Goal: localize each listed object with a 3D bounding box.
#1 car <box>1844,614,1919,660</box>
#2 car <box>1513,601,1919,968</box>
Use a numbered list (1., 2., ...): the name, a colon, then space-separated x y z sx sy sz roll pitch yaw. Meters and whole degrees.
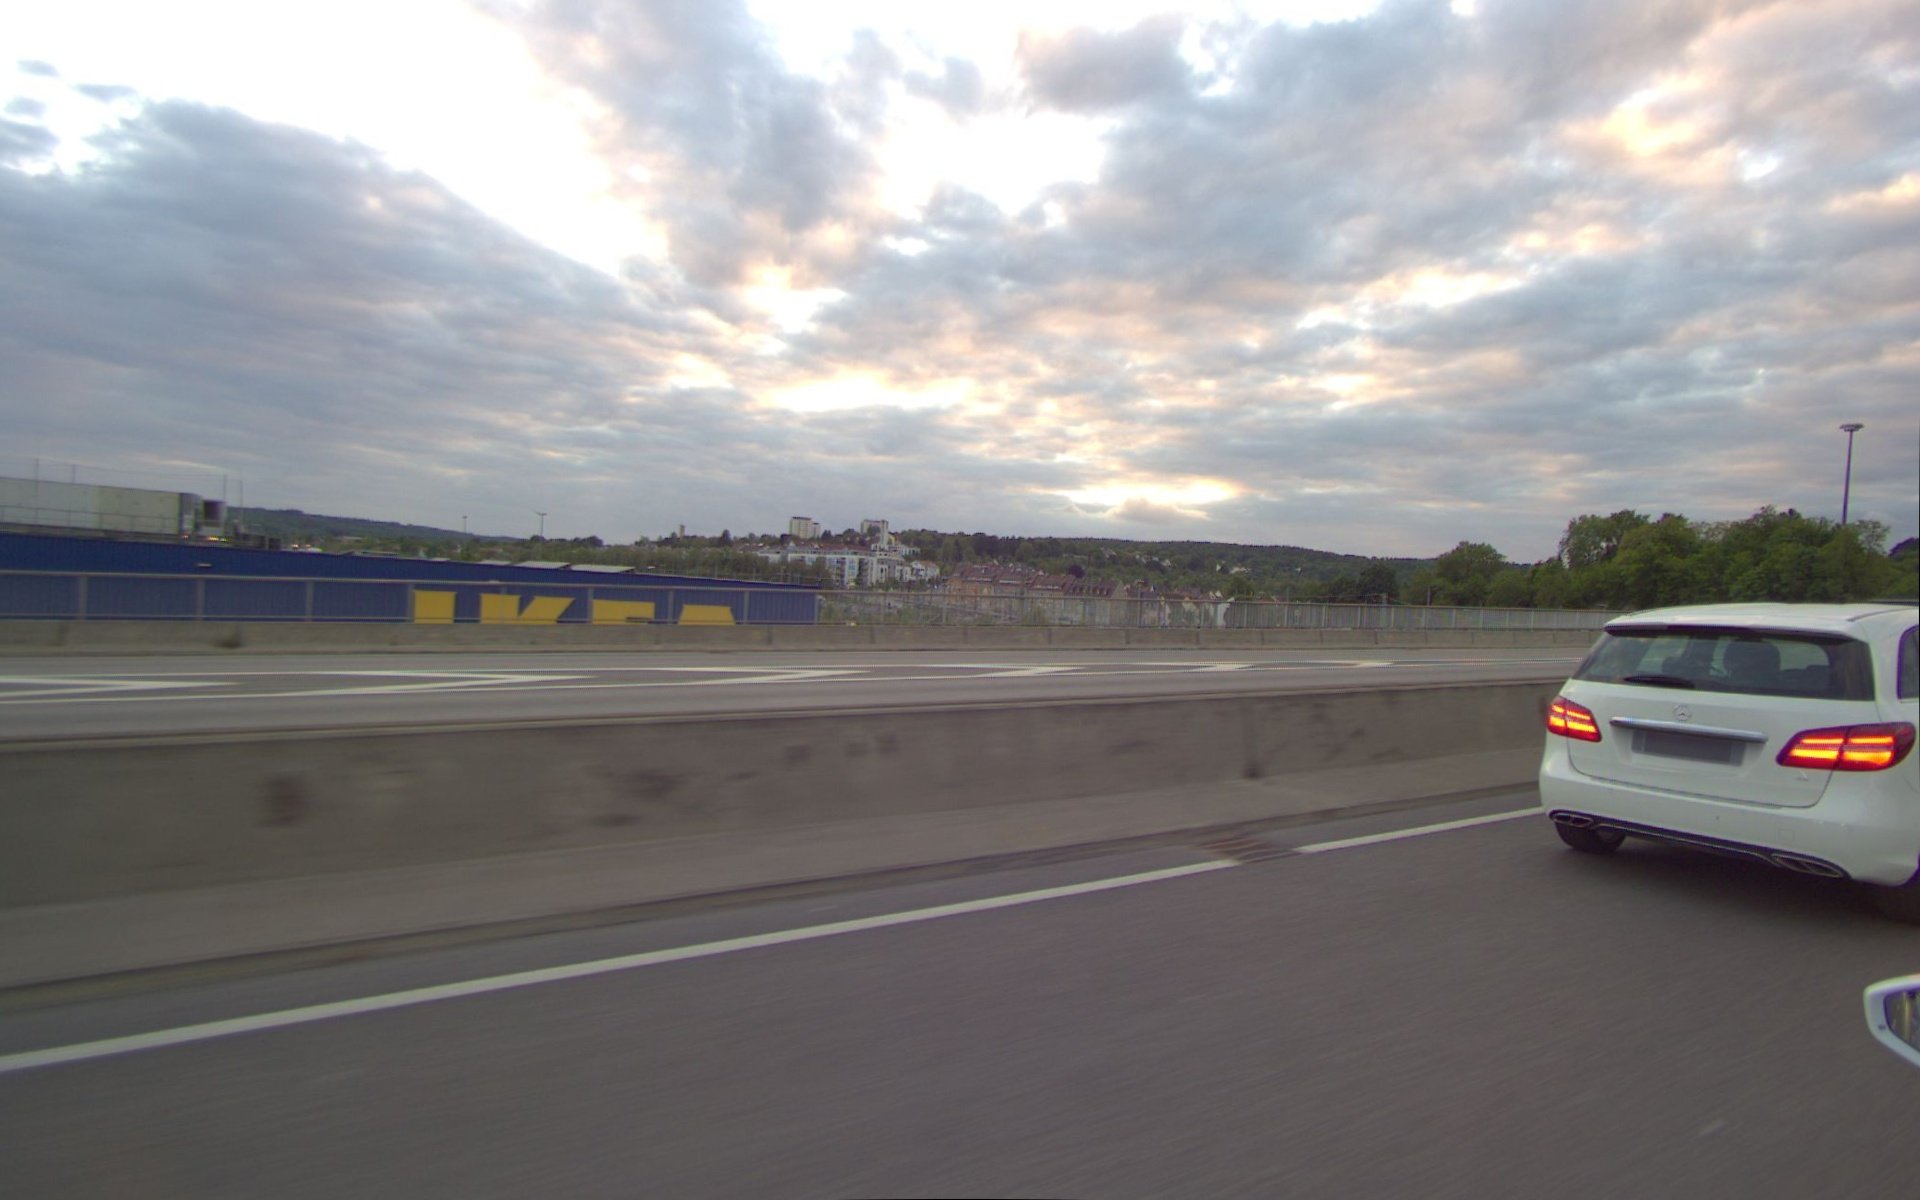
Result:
1. car: 32.912 1.296 35.392 4.182 1.496 1.719 1 0 -36
2. car: 5.618 0.844 6.261 4.729 1.557 1.682 2 0 -32
